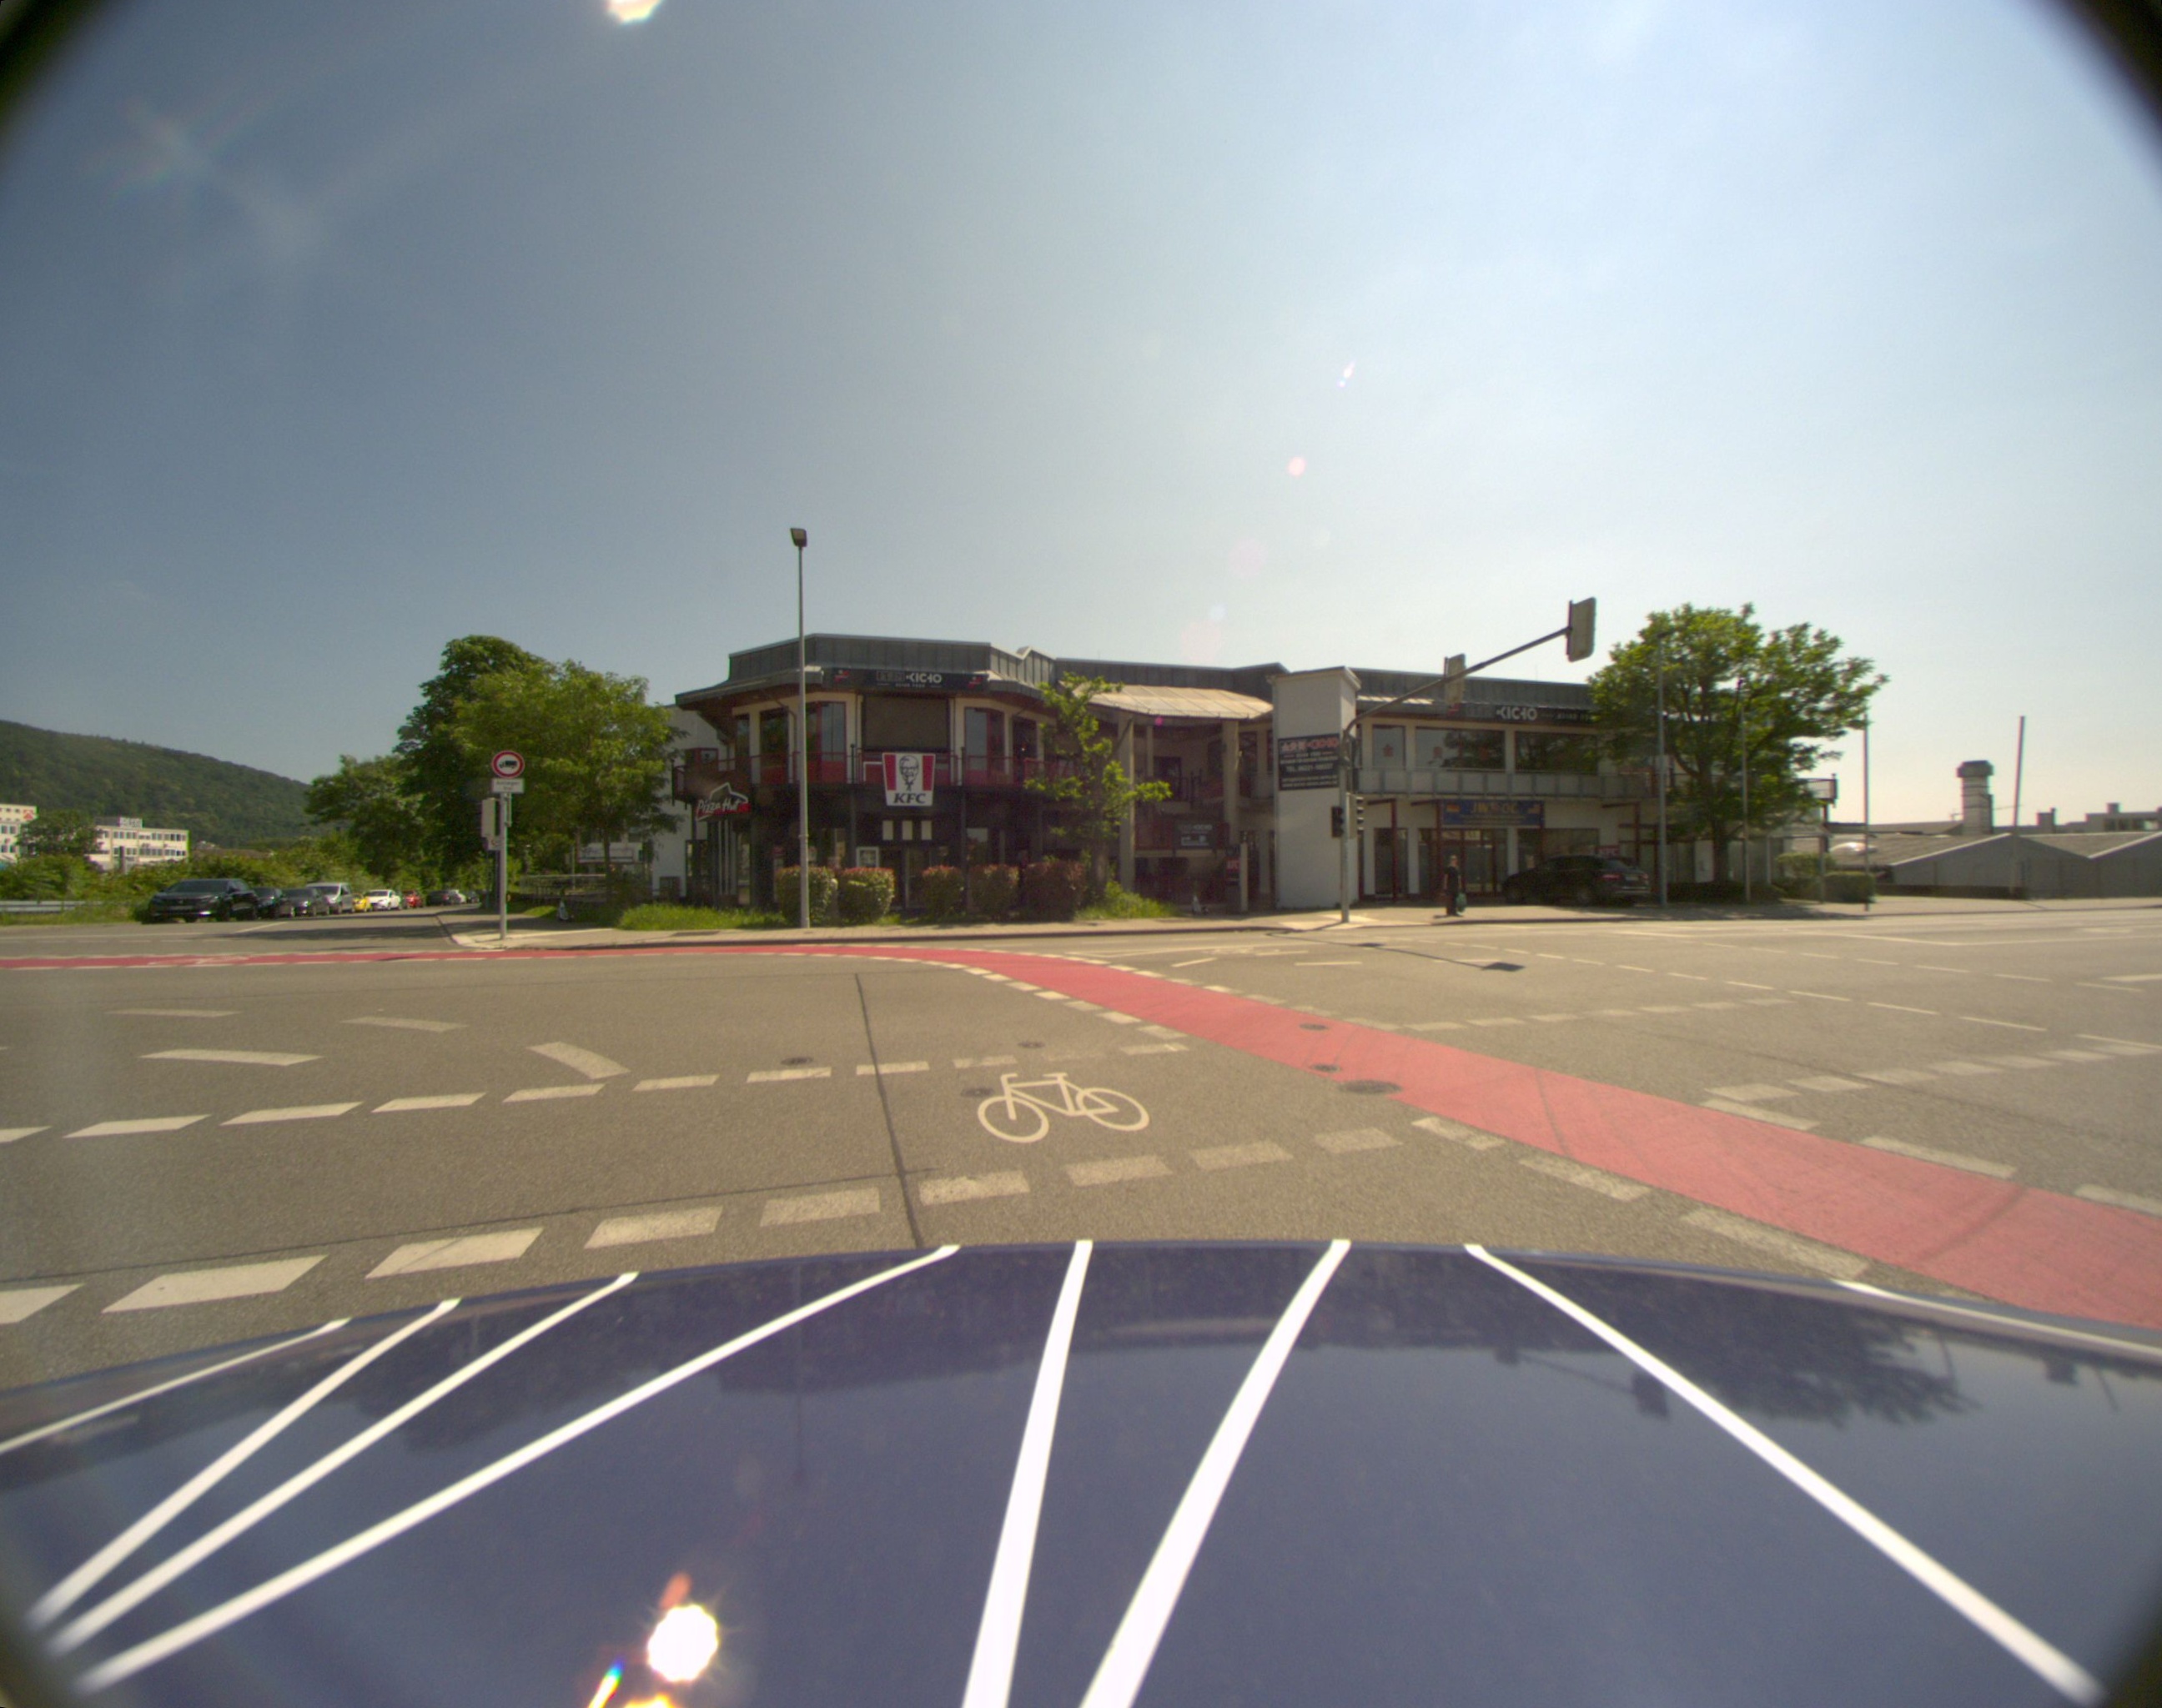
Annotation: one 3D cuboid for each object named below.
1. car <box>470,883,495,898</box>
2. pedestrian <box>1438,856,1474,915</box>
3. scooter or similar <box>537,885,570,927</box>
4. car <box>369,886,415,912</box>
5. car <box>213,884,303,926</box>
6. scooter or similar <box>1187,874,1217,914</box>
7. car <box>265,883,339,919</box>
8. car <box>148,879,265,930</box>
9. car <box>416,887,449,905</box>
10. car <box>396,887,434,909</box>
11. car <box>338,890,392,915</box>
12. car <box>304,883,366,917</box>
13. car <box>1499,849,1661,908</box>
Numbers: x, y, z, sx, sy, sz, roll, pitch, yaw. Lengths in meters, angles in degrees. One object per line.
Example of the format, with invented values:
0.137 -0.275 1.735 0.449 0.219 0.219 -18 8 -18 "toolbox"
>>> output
-64.402 3.922 81.809 1.676 1.523 3.990 0 0 -32 "car"
10.519 0.866 21.321 0.732 1.636 0.843 0 0 14 "pedestrian"
-14.973 1.458 21.575 0.428 1.117 1.449 0 0 -21 "scooter or similar"
-46.881 3.016 51.770 1.676 1.523 3.990 0 0 -33 "car"
-34.954 2.110 32.377 1.676 1.523 3.990 0 0 -33 "car"
3.585 1.162 22.591 0.500 1.117 1.503 0 0 -7 "scooter or similar"
-37.505 2.206 36.690 1.676 1.523 3.990 0 0 -33 "car"
-32.406 1.813 28.311 1.834 1.617 4.226 0 0 -34 "car"
-56.802 3.644 66.600 1.677 1.427 3.990 3 -2 -33 "car"
-51.718 3.393 59.086 1.676 1.427 3.990 0 0 -33 "car"
-43.367 2.892 46.095 1.676 1.309 3.990 0 0 -33 "car"
-40.735 2.472 41.592 1.676 1.625 3.990 0 0 -33 "car"
17.086 0.781 26.358 1.810 1.844 4.653 0 0 -15 "car"
